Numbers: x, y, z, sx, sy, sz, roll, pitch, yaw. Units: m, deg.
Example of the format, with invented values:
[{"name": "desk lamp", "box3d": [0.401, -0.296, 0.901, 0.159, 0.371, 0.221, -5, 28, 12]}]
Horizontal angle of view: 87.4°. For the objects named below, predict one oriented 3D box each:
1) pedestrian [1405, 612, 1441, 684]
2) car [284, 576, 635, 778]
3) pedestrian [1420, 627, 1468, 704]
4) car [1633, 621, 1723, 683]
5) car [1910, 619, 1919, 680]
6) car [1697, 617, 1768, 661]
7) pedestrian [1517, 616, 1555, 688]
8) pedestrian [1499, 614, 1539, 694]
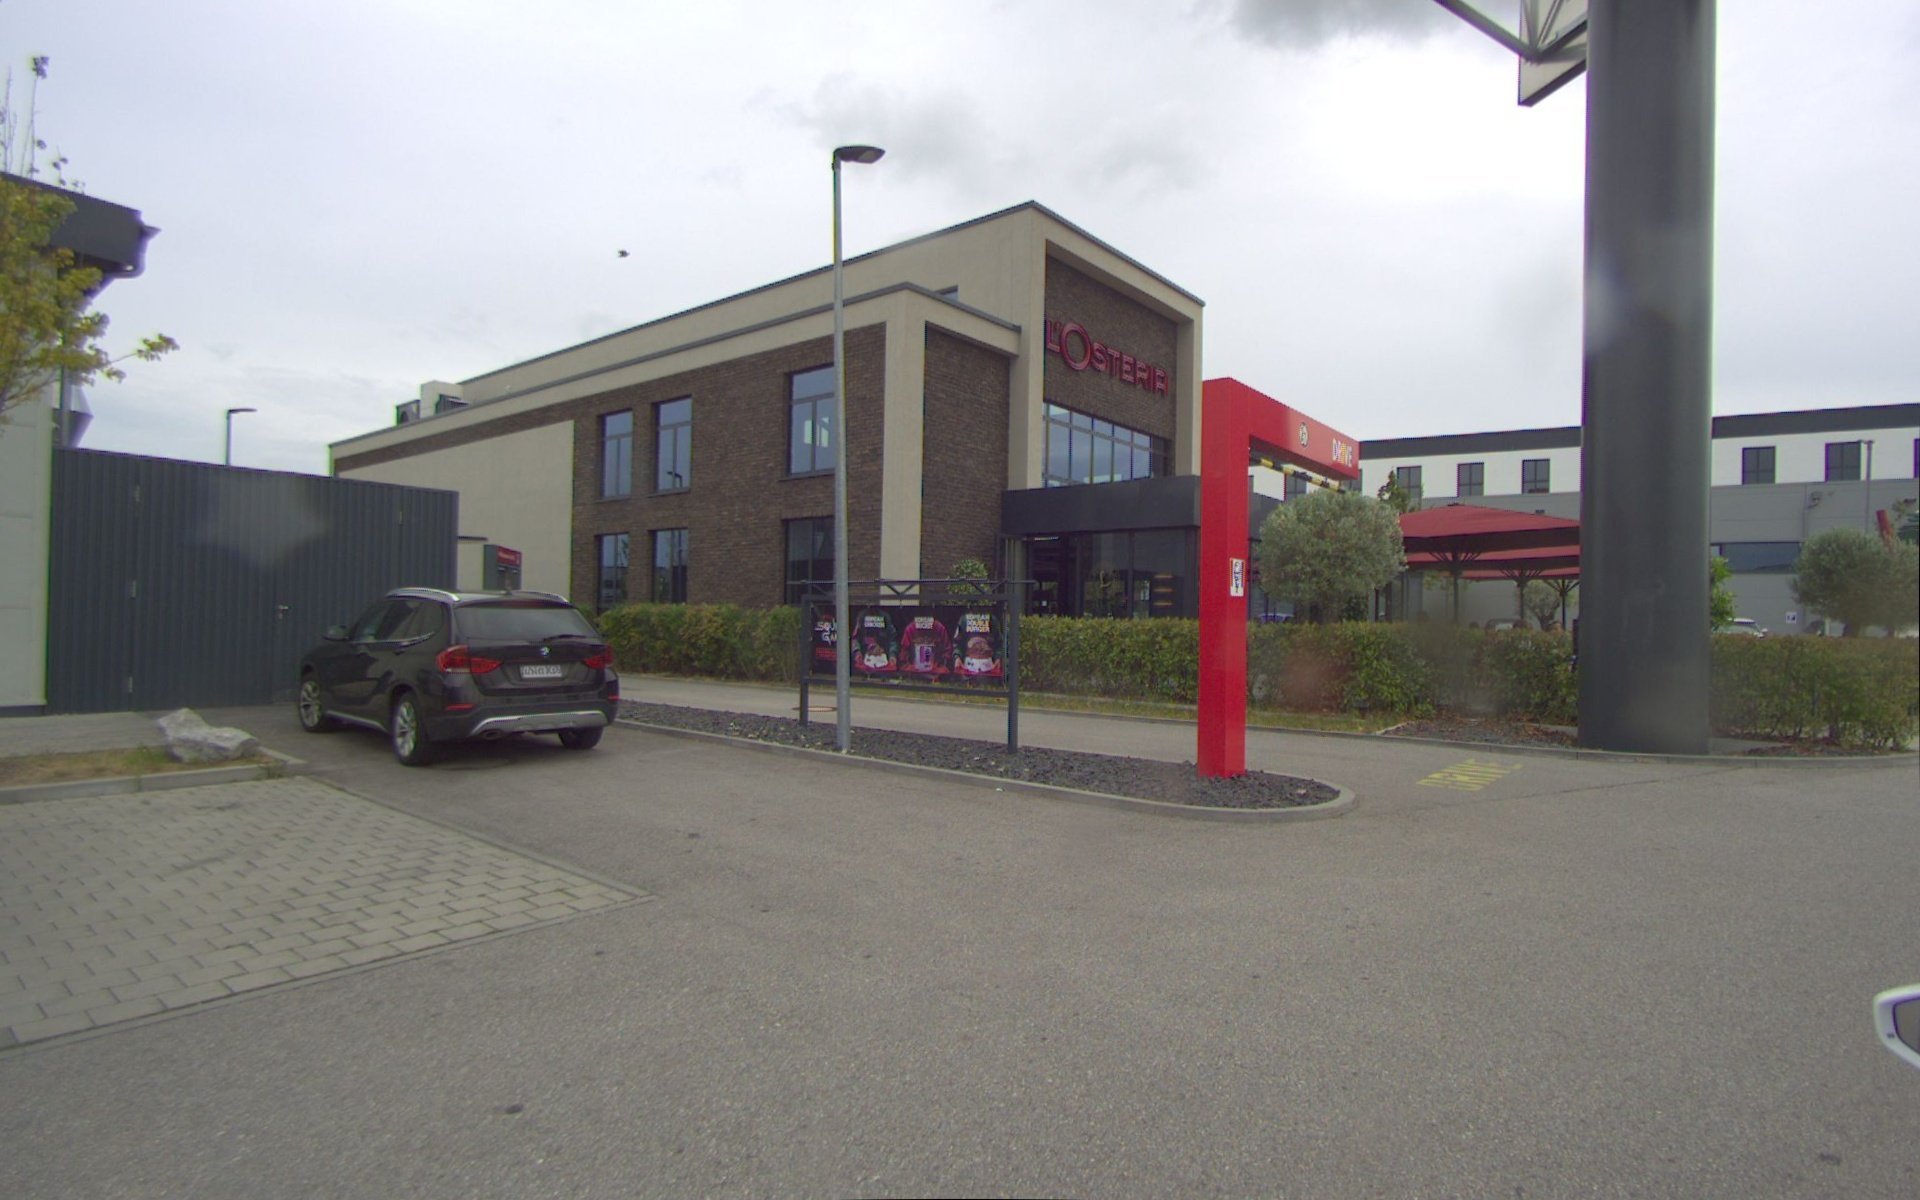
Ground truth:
[{"name": "pedestrian", "box3d": [7.931, 0.821, 17.204, 0.415, 1.215, 0.454, -2, -3, 45]}, {"name": "car", "box3d": [-5.081, 0.696, 9.988, 3.941, 1.617, 1.728, -2, -3, 41]}, {"name": "pedestrian", "box3d": [11.294, 1.521, 23.449, 0.695, 1.771, 0.738, 1, -2, -27]}, {"name": "car", "box3d": [20.822, 1.484, 29.254, 1.967, 1.672, 4.564, -2, -3, 34]}, {"name": "car", "box3d": [26.119, 1.278, 25.635, 1.967, 1.672, 4.564, -2, -3, 34]}, {"name": "car", "box3d": [29.178, 1.478, 38.037, 1.712, 1.572, 4.254, -1, -3, 32]}, {"name": "pedestrian", "box3d": [14.521, 1.313, 25.320, 0.731, 1.771, 0.701, -2, -2, 37]}, {"name": "pedestrian", "box3d": [8.757, 0.841, 15.736, 0.415, 1.215, 0.454, -2, -3, 45]}]
